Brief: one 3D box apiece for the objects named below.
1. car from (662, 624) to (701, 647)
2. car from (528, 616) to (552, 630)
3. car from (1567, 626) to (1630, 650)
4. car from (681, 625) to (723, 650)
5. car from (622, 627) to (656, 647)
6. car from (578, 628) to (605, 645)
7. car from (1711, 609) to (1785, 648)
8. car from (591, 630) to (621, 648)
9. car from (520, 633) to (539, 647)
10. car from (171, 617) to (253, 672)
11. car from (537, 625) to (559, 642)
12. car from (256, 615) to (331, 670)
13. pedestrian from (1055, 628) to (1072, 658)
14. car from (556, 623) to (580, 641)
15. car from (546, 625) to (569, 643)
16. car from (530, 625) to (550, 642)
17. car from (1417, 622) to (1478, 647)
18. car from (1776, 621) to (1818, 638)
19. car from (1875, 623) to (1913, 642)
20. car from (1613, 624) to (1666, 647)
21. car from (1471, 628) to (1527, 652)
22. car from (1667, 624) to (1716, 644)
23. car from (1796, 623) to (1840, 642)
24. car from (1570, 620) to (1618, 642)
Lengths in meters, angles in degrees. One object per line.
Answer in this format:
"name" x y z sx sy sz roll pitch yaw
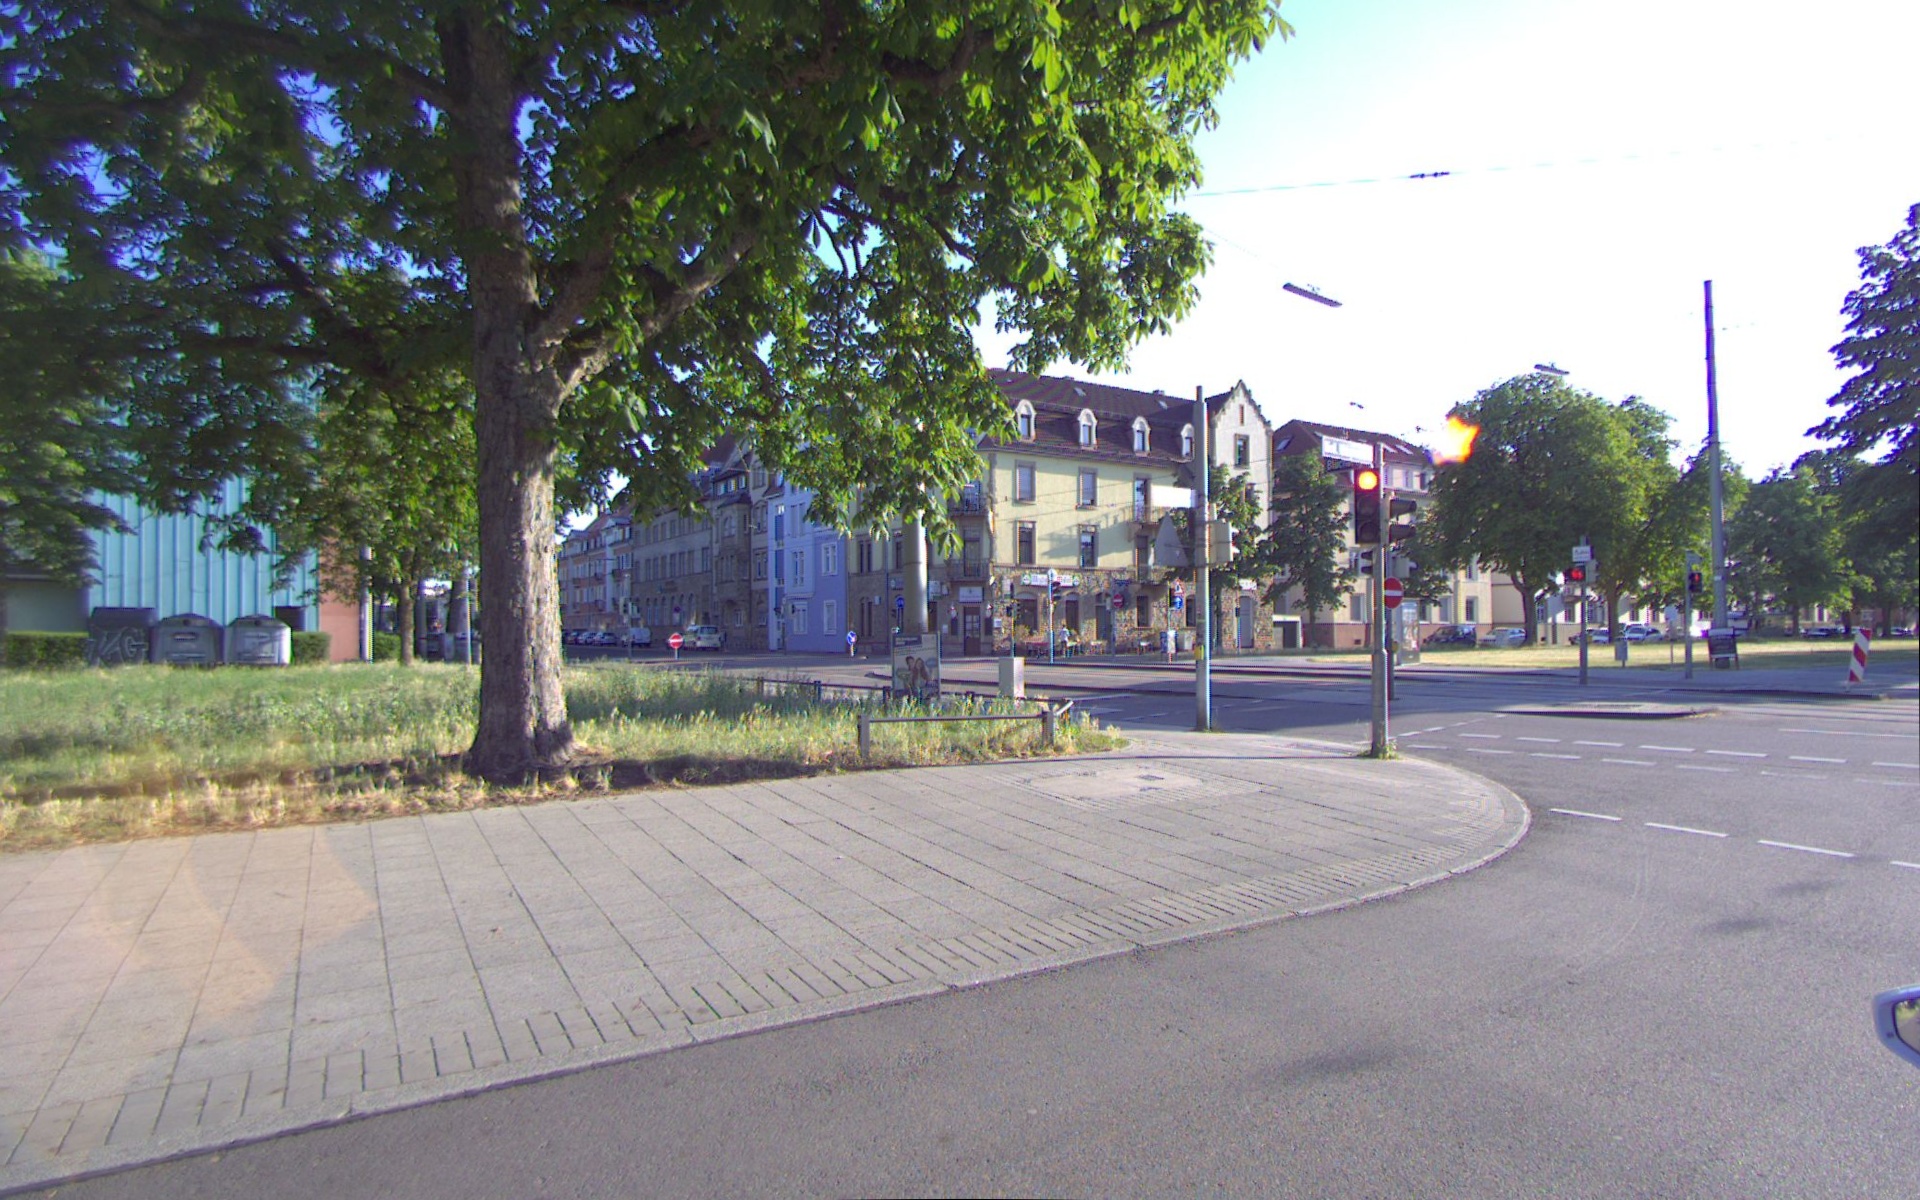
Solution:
"car" -23.135 2.948 83.358 1.980 1.763 3.962 1 0 -34
"car" -58.226 3.162 139.337 1.912 1.715 3.951 2 0 -41
"car" 46.530 2.773 73.181 4.517 1.681 1.984 2 0 -30
"car" -20.133 2.909 78.281 2.011 1.760 3.743 2 0 -34
"car" -30.014 3.472 93.896 1.980 1.694 3.743 2 0 -34
"car" -39.703 3.941 108.303 1.816 1.692 3.911 2 0 -34
"car" 67.847 2.424 86.434 7.764 3.173 2.379 1 1 -32
"car" -36.540 3.974 103.567 1.980 1.694 3.743 2 0 -34
"car" -57.734 5.321 134.712 1.713 1.694 3.638 2 0 -33
"car" -24.615 1.431 33.205 1.948 1.693 5.173 1 -2 -35
"car" -51.955 4.197 126.672 1.789 2.040 3.772 2 0 -33
"car" -22.816 1.522 34.428 1.979 1.693 5.177 2 -4 -33
"pedestrian" 5.780 2.414 56.349 0.676 1.646 0.612 2 0 -34
"car" -45.980 3.750 117.741 1.782 1.855 3.755 2 0 -34
"car" -48.976 4.118 122.103 1.805 2.040 3.924 2 0 -34
"car" -54.763 4.386 130.905 1.756 2.040 3.790 2 0 -34
"car" 35.531 2.512 73.161 4.261 1.759 1.984 2 0 -30
"car" 86.955 3.058 104.297 4.323 1.681 1.984 2 0 -30
"car" 97.856 3.422 105.244 4.075 1.804 1.802 2 0 -31
"car" 51.529 2.674 76.134 4.372 1.575 1.785 0 1 -34
"car" 40.942 3.030 76.336 3.953 1.681 1.984 2 0 -30
"car" 66.790 3.089 91.746 4.517 1.681 1.984 2 0 -30
"car" 80.913 3.053 94.691 4.266 1.696 1.869 2 0 -31
"car" 52.729 2.581 83.525 4.142 1.654 1.707 2 0 -30
